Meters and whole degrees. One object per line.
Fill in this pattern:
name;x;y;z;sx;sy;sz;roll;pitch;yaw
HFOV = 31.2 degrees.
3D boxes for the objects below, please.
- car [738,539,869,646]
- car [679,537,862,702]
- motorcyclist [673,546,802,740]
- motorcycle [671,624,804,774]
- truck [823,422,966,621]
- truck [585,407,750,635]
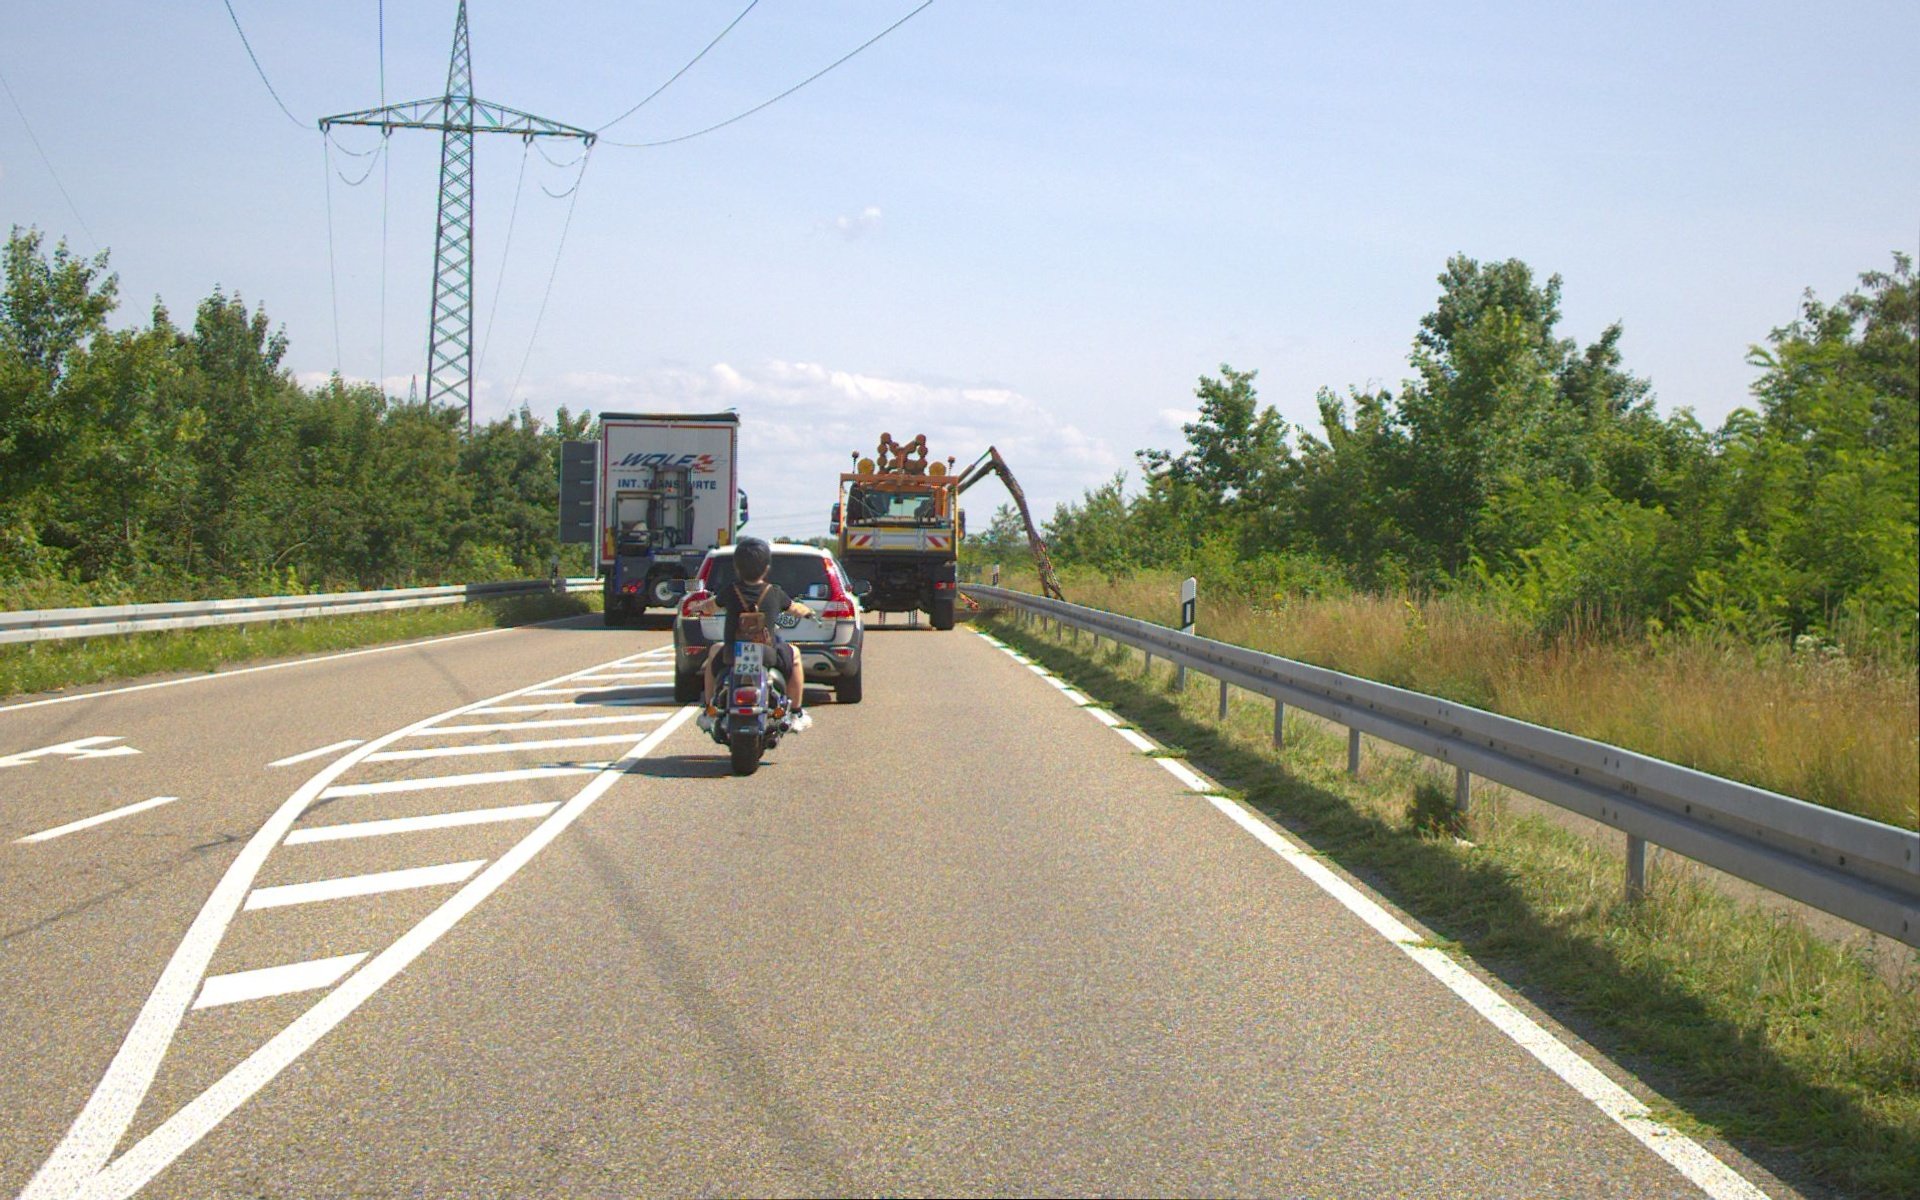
car;-2.316;-0.143;51.431;1.854;1.484;3.741;1;1;-2
car;-1.912;0.151;34.239;1.700;1.531;3.500;1;1;-4
motorcyclist;-1.504;0.281;23.381;0.837;1.276;0.919;1;1;-3
motorcycle;-1.497;0.650;23.350;0.858;0.912;2.228;0;1;-3
truck;-1.293;-1.532;68.101;2.613;3.698;6.778;1;1;-1
truck;-6.056;-1.601;71.049;2.967;4.172;14.824;1;1;-5
